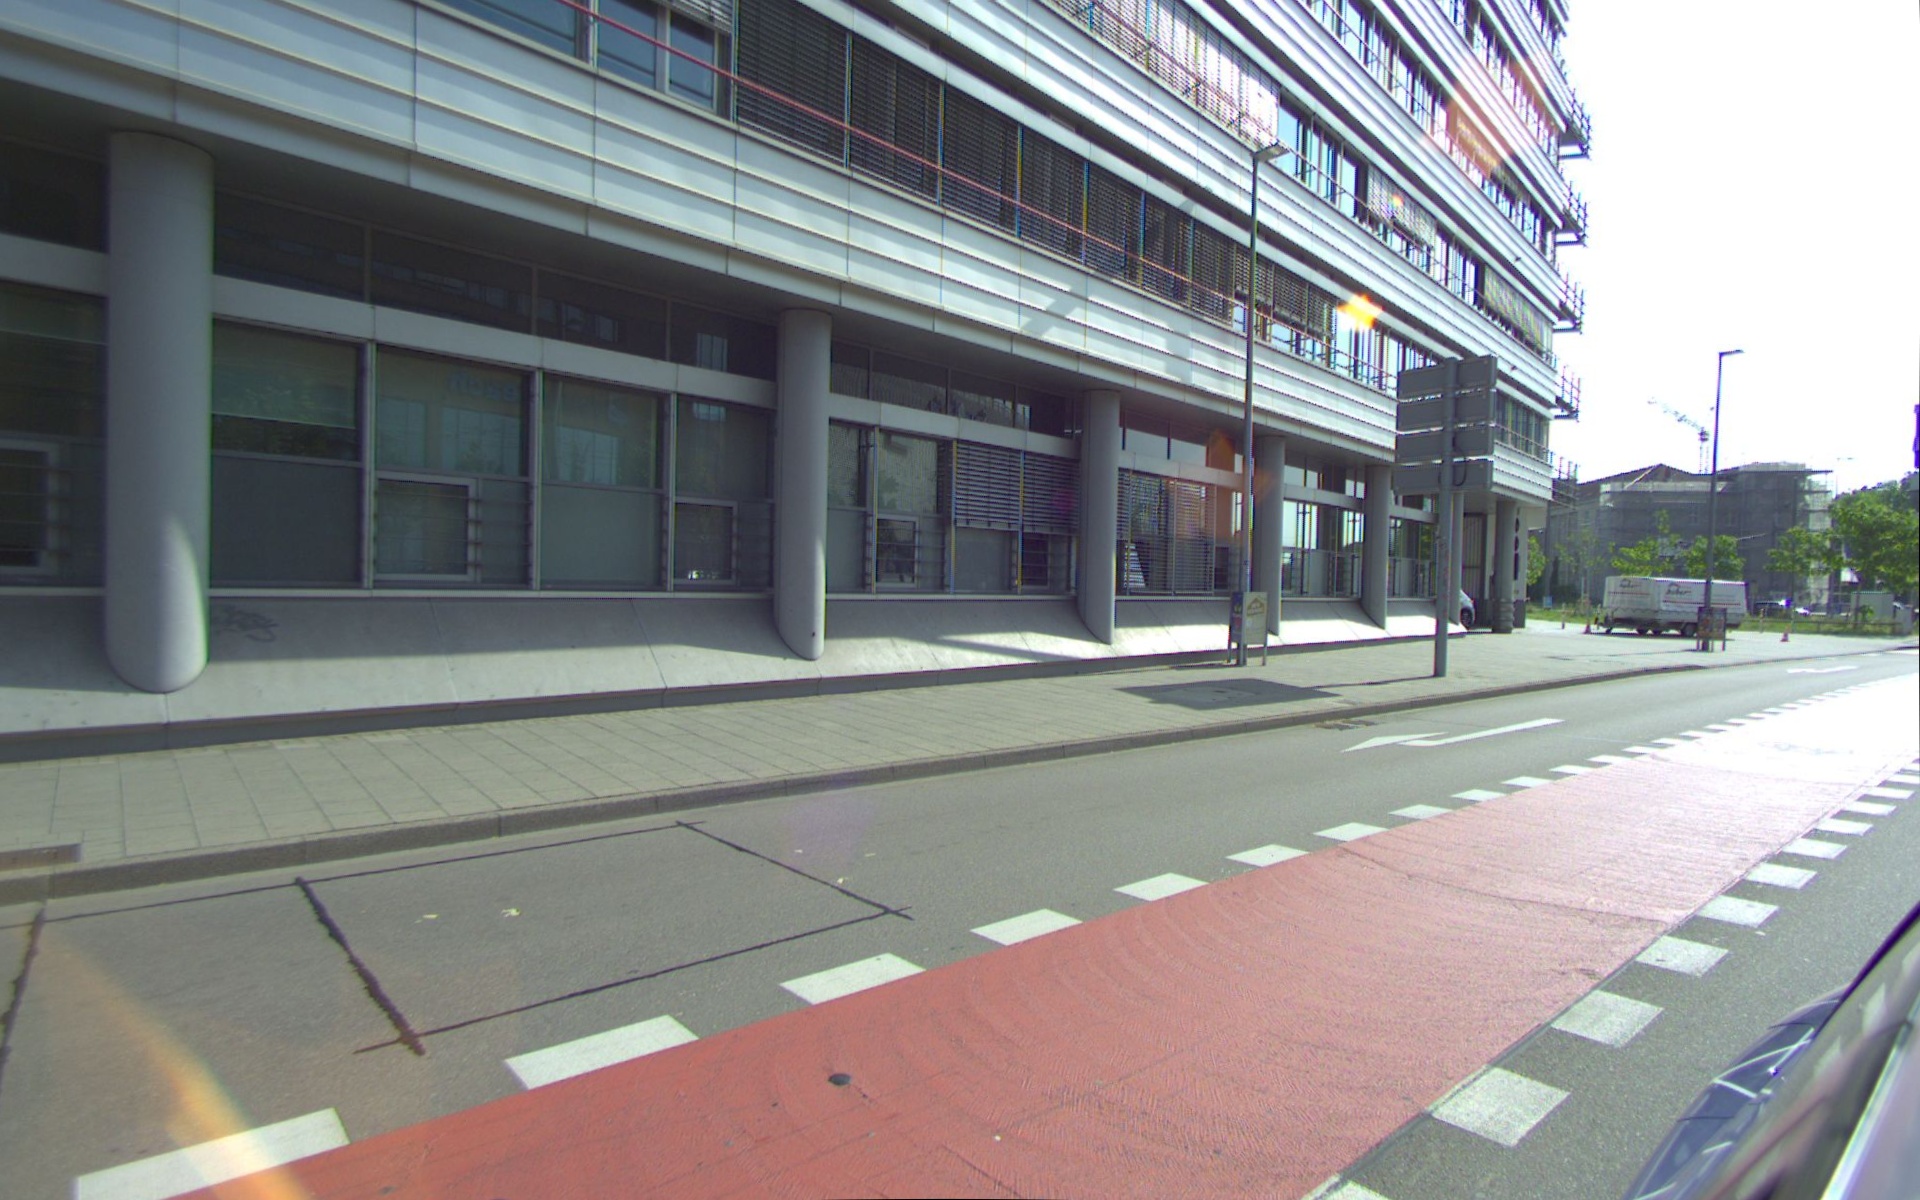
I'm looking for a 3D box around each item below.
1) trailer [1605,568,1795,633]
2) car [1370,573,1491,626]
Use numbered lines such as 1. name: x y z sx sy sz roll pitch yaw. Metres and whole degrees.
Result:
1. trailer: 27.265 0.001 37.352 5.824 2.178 2.402 1 1 -14
2. car: 15.828 -0.019 34.012 3.920 1.609 1.752 2 1 -31
